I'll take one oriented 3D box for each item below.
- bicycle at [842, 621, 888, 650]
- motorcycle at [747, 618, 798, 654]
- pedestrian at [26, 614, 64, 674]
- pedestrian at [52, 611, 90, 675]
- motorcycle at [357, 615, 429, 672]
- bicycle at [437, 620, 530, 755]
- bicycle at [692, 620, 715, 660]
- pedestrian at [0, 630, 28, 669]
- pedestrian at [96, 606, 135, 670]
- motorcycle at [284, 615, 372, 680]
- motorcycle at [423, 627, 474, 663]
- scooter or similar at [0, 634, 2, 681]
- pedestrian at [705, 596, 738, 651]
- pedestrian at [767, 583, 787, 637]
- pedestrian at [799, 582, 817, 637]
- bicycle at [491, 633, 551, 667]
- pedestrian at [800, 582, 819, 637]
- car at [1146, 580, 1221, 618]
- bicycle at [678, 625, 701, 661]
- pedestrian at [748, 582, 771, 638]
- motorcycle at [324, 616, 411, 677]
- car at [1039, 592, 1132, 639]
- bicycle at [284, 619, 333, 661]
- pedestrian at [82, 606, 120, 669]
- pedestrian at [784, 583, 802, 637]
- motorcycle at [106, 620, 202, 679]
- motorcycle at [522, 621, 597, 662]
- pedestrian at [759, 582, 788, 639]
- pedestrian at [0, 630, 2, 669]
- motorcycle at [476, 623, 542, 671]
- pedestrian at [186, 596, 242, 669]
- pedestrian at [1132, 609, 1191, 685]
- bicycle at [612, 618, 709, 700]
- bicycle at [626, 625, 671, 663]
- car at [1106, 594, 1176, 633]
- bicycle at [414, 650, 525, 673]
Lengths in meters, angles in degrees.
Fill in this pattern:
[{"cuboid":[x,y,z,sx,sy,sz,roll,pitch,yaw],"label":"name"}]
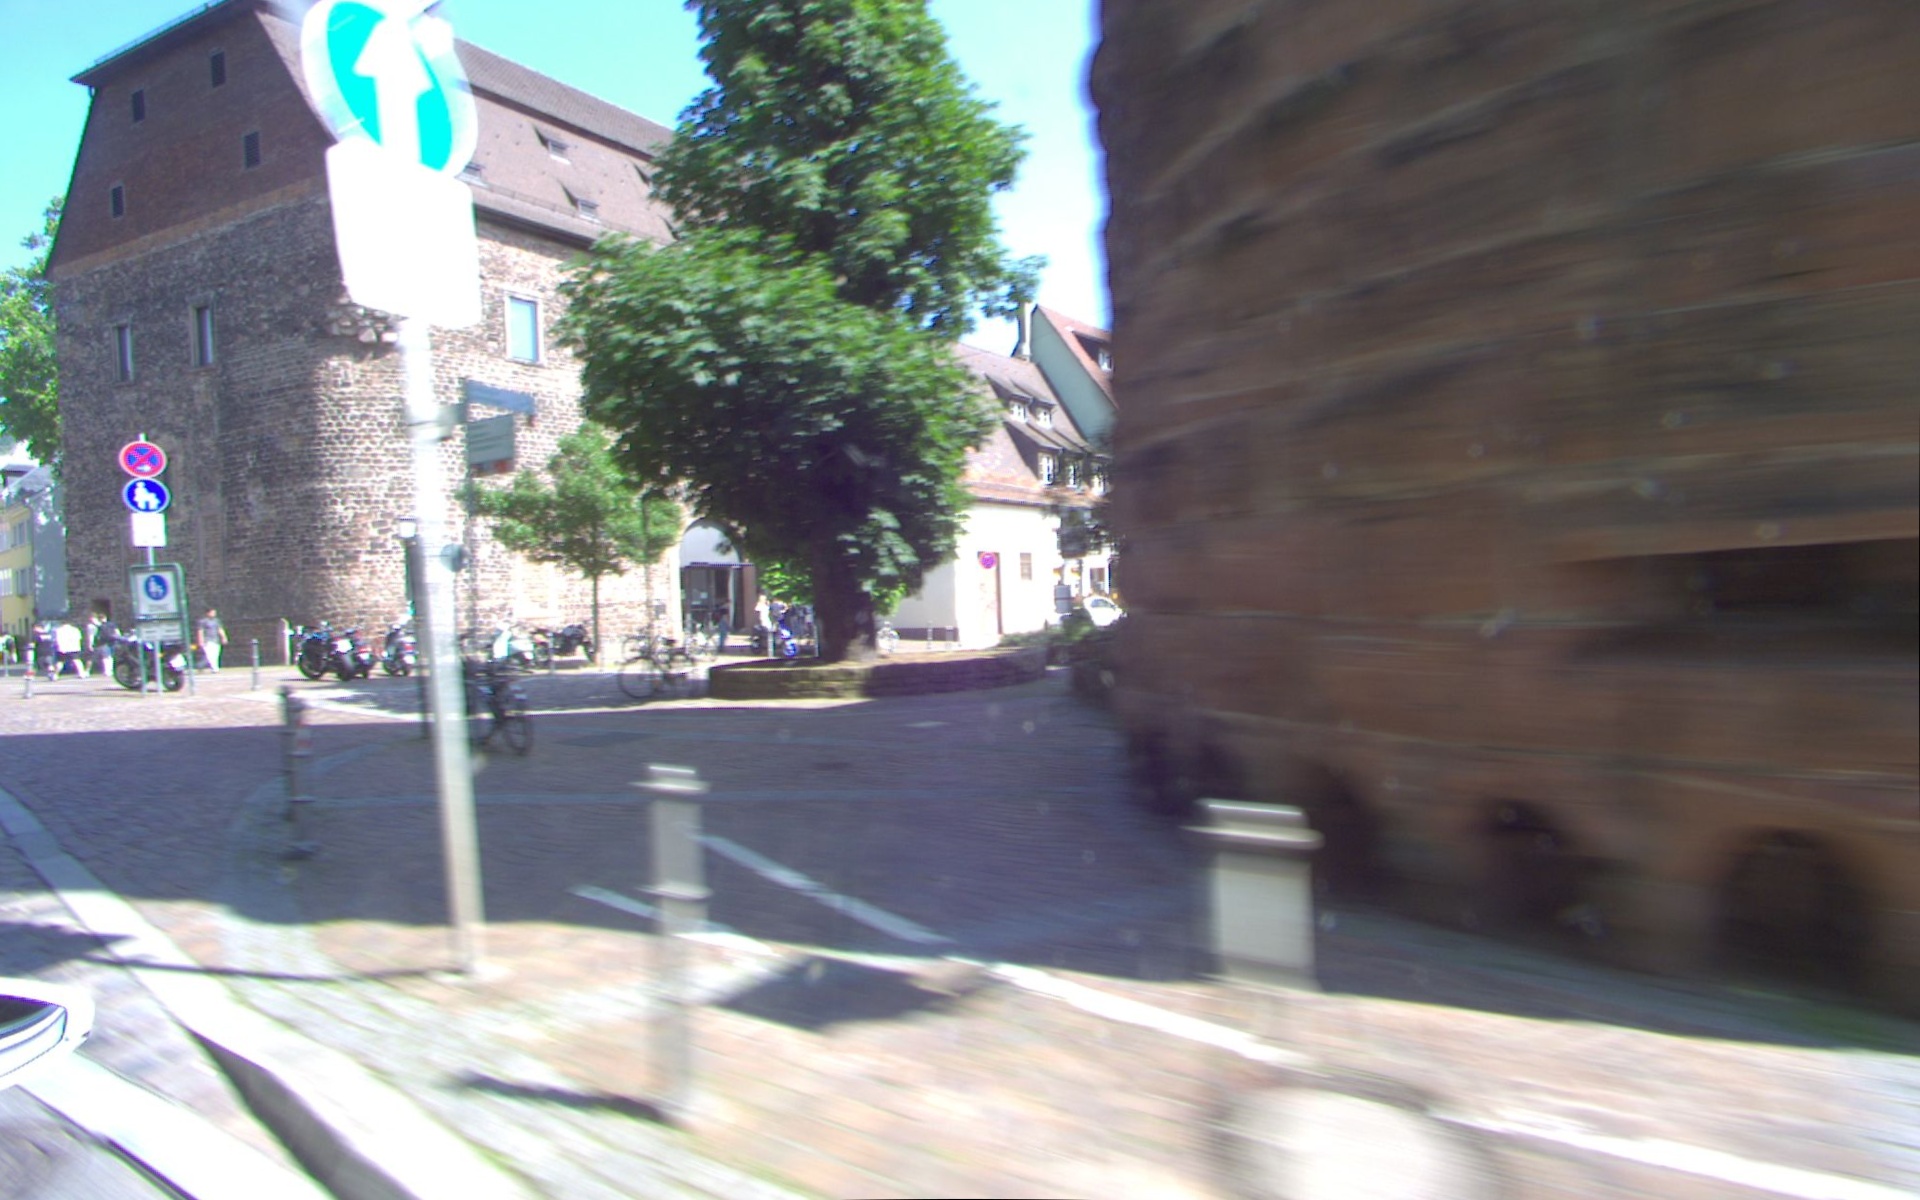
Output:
[{"cuboid":[-3.115,1.167,32.896,1.566,0.890,0.419,-3,-2,32],"label":"bicycle"},{"cuboid":[-5.642,1.094,30.069,1.588,1.047,0.387,-2,-2,26],"label":"motorcycle"},{"cuboid":[-28.124,1.352,30.786,0.835,1.826,0.650,-1,0,32],"label":"pedestrian"},{"cuboid":[-26.896,1.293,30.294,0.809,1.908,0.667,-2,-2,31],"label":"pedestrian"},{"cuboid":[-12.855,0.997,22.678,2.002,1.251,0.545,-3,-2,33],"label":"motorcycle"},{"cuboid":[-4.689,0.813,9.794,1.750,1.219,0.192,-1,0,44],"label":"bicycle"},{"cuboid":[-7.257,1.132,28.312,0.355,1.099,1.376,-1,-1,-26],"label":"bicycle"},{"cuboid":[-50.352,2.620,53.295,0.796,2.039,0.938,-2,-2,33],"label":"pedestrian"},{"cuboid":[-27.219,1.227,32.273,0.866,2.039,0.729,-2,-2,32],"label":"pedestrian"},{"cuboid":[-13.132,0.989,20.776,2.169,1.282,0.654,-3,-1,33],"label":"motorcycle"},{"cuboid":[-13.975,1.233,27.336,1.704,0.961,0.441,-2,-1,33],"label":"motorcycle"},{"cuboid":[-22.615,1.319,22.825,0.318,1.079,1.087,-2,-2,30],"label":"scooter or similar"},{"cuboid":[-7.595,0.741,31.884,0.799,1.684,0.652,-2,1,-33],"label":"pedestrian"},{"cuboid":[-7.010,0.382,38.298,0.556,2.039,0.648,-1,-1,-29],"label":"pedestrian"},{"cuboid":[-5.683,0.365,37.423,0.435,2.039,0.620,-2,-1,17],"label":"pedestrian"},{"cuboid":[-10.943,1.233,24.927,1.898,0.831,0.353,-1,-1,32],"label":"bicycle"},{"cuboid":[-5.744,0.370,38.213,0.520,2.039,0.439,-2,-2,44],"label":"pedestrian"},{"cuboid":[10.360,-0.081,46.184,1.974,1.611,3.974,-3,-1,35],"label":"car"},{"cuboid":[-7.384,1.181,27.318,0.355,0.961,1.376,-1,-2,-26],"label":"bicycle"},{"cuboid":[-7.495,0.378,37.499,0.787,2.039,0.734,-1,-1,-9],"label":"pedestrian"},{"cuboid":[-12.831,1.015,21.656,2.280,1.251,0.674,-3,-2,33],"label":"motorcycle"},{"cuboid":[4.719,0.562,37.270,1.814,1.592,3.822,-3,-1,35],"label":"car"},{"cuboid":[-19.681,1.200,30.256,1.691,1.225,0.388,-2,-2,25],"label":"bicycle"},{"cuboid":[-26.827,1.181,31.274,0.809,1.944,0.667,-2,-2,31],"label":"pedestrian"},{"cuboid":[-6.421,0.379,38.437,0.499,2.039,0.442,-2,-1,21],"label":"pedestrian"},{"cuboid":[-14.841,0.901,18.415,2.454,1.026,0.565,-2,1,32],"label":"motorcycle"},{"cuboid":[-10.748,1.113,26.922,0.474,1.067,1.857,-2,-2,40],"label":"motorcycle"},{"cuboid":[-6.837,0.387,36.720,0.759,2.039,0.692,-2,-1,20],"label":"pedestrian"},{"cuboid":[-50.858,2.589,52.451,0.728,2.039,0.838,-2,-2,33],"label":"pedestrian"},{"cuboid":[-10.573,1.101,23.454,1.814,1.086,0.506,-3,-2,33],"label":"motorcycle"},{"cuboid":[-20.985,0.904,28.181,0.898,1.974,0.829,-2,1,-5],"label":"pedestrian"},{"cuboid":[2.945,0.685,14.625,0.640,1.082,0.628,-2,-2,31],"label":"pedestrian"},{"cuboid":[-4.574,0.881,15.234,1.707,1.177,0.445,-1,1,36],"label":"bicycle"},{"cuboid":[-8.394,1.191,26.967,1.362,0.978,0.359,-2,-2,32],"label":"bicycle"},{"cuboid":[7.351,0.531,40.587,1.473,1.474,3.138,-2,-1,38],"label":"car"},{"cuboid":[-10.226,1.279,20.910,1.915,0.386,0.909,-1,-2,-44],"label":"bicycle"}]
